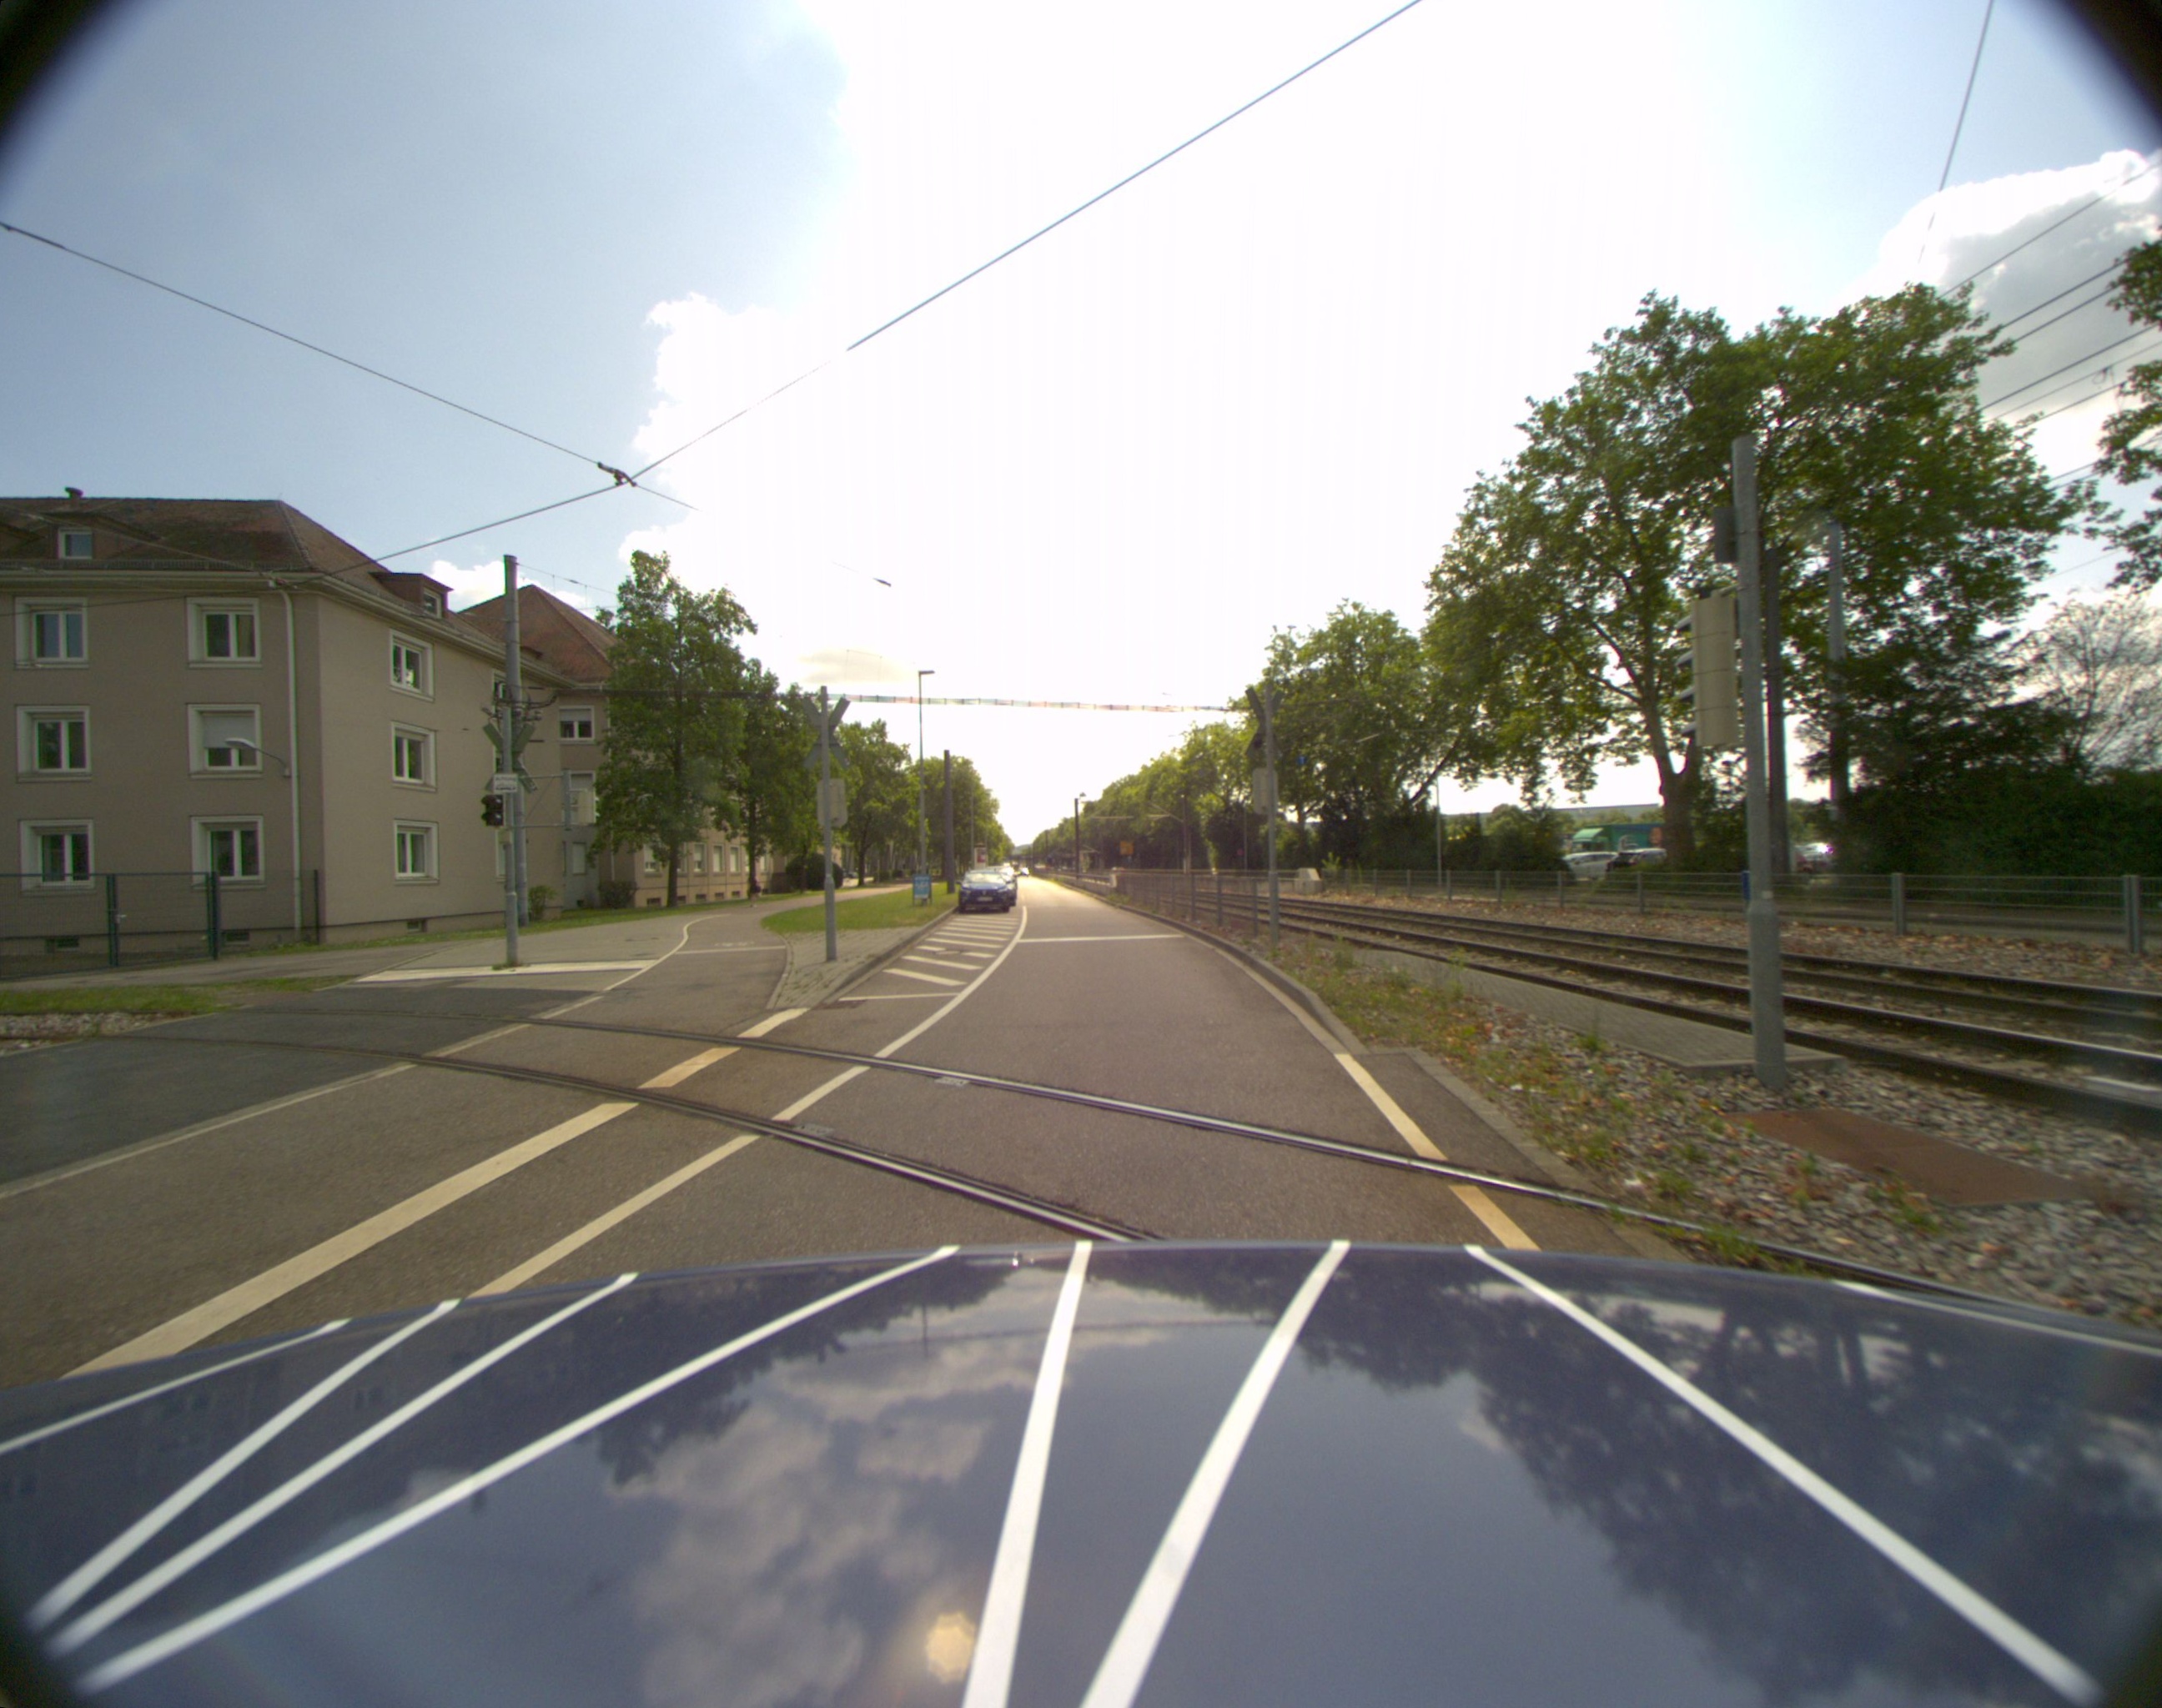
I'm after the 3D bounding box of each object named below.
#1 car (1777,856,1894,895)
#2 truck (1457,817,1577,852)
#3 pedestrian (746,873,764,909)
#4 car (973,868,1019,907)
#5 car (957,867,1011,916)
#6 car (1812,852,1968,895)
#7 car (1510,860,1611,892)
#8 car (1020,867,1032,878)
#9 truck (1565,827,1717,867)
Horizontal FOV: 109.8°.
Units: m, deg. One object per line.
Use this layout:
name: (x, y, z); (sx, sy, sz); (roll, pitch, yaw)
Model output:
car: (37.374, 1.039, 37.699); (3.999, 1.762, 1.999); (-2, 1, -5)
truck: (51.115, -2.231, 89.256); (12.825, 4.051, 2.746); (0, 1, -4)
pedestrian: (-14.651, 1.656, 34.170); (0.625, 1.599, 0.623); (-1, 2, -33)
car: (-3.646, 1.386, 33.022); (1.822, 1.445, 4.987); (0, 0, -5)
car: (-3.526, 1.296, 27.764); (1.785, 1.531, 4.417); (0, 1, -7)
car: (30.452, 0.699, 28.689); (3.999, 1.434, 1.999); (-2, 1, -5)
car: (24.606, 1.117, 39.044); (3.999, 1.434, 1.999); (-2, 1, -5)
car: (-10.060, 3.378, 138.479); (1.999, 1.711, 4.302); (0, 1, -5)
truck: (39.894, -0.512, 54.275); (8.856, 2.777, 2.705); (0, 1, 0)
